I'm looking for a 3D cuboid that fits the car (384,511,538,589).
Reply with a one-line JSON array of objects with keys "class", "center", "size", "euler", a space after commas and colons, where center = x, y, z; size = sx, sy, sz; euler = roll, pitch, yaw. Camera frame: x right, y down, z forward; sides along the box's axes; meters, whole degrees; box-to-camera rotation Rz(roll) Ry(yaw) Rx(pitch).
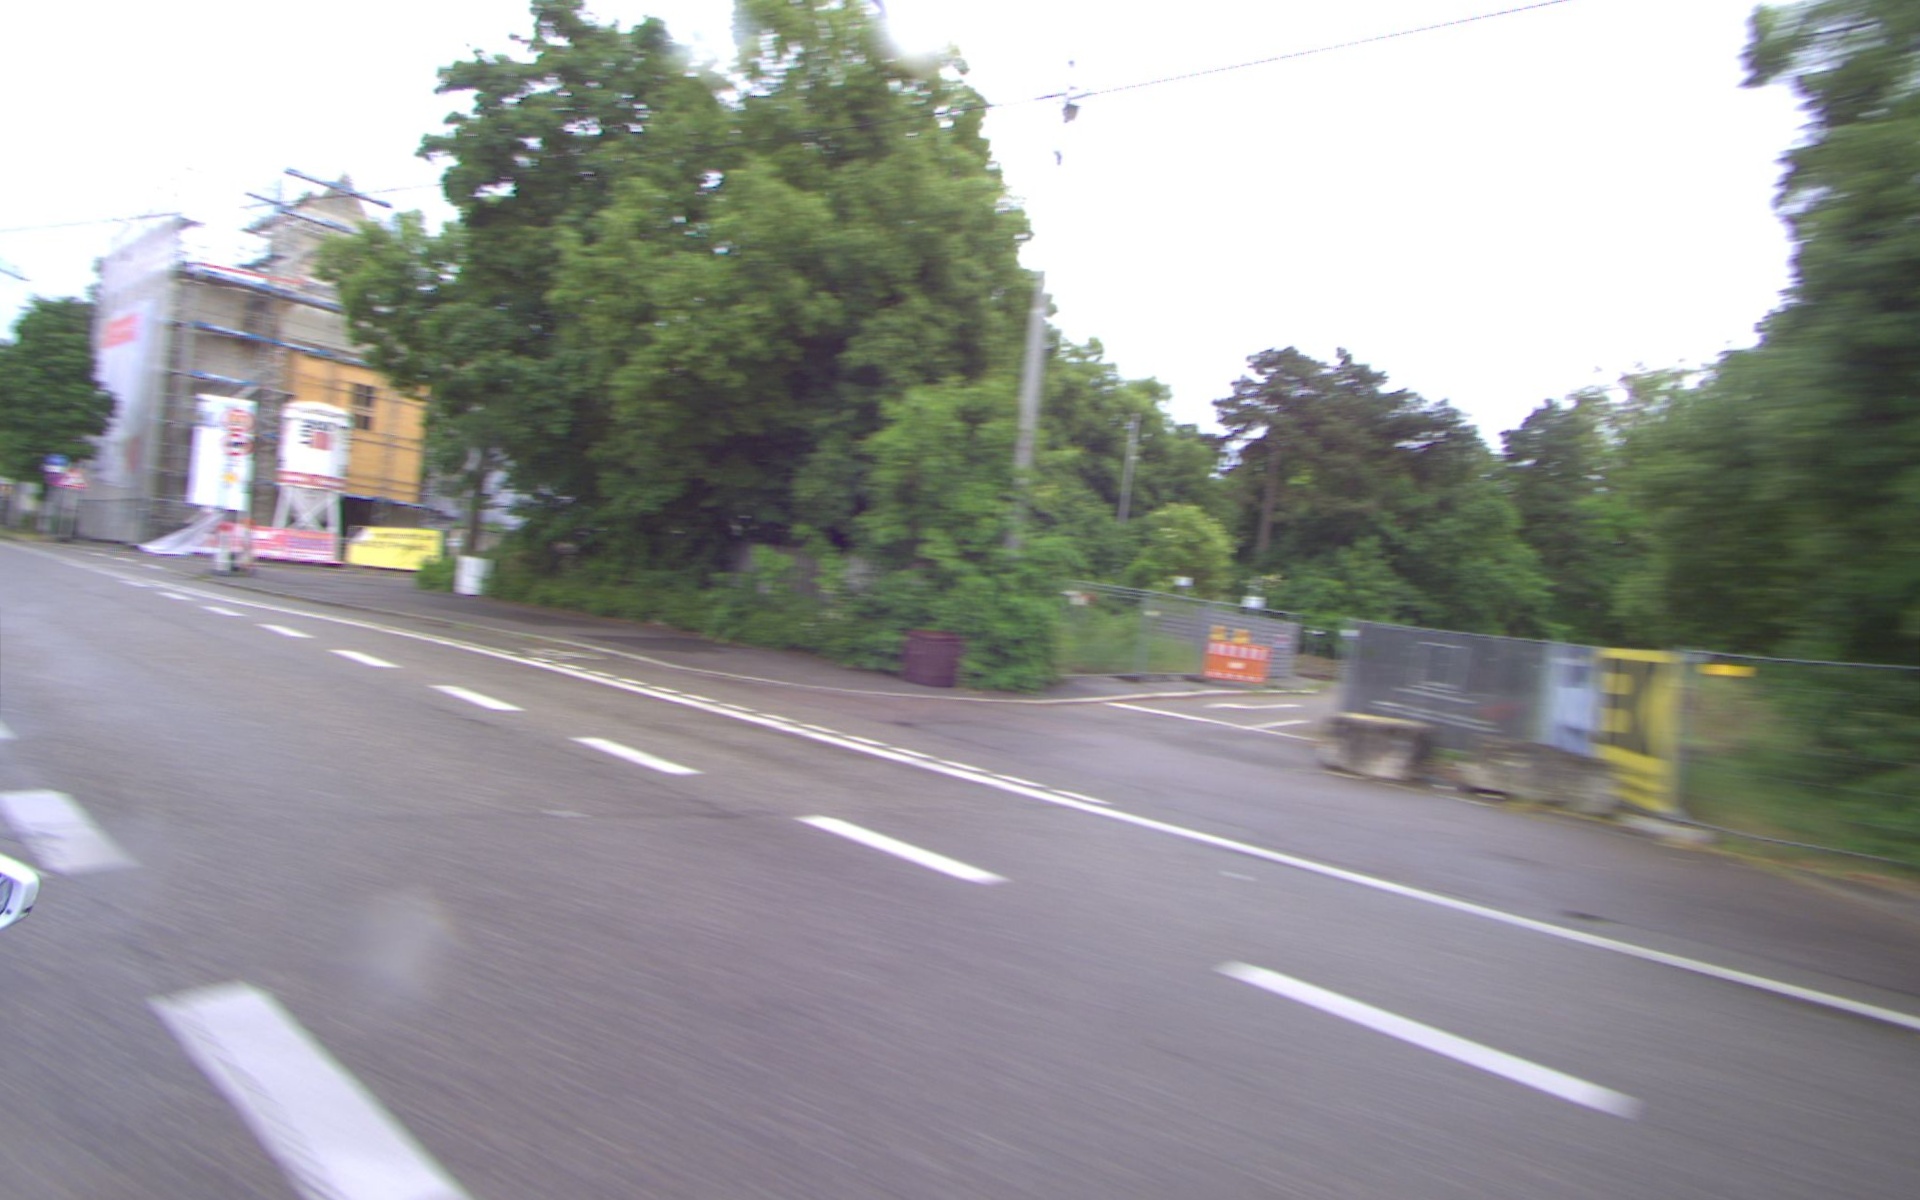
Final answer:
[{"class": "car", "center": [-16.289, -1.603, 33.026], "size": [3.929, 2.039, 1.997], "euler": [7, 1, -5]}]
